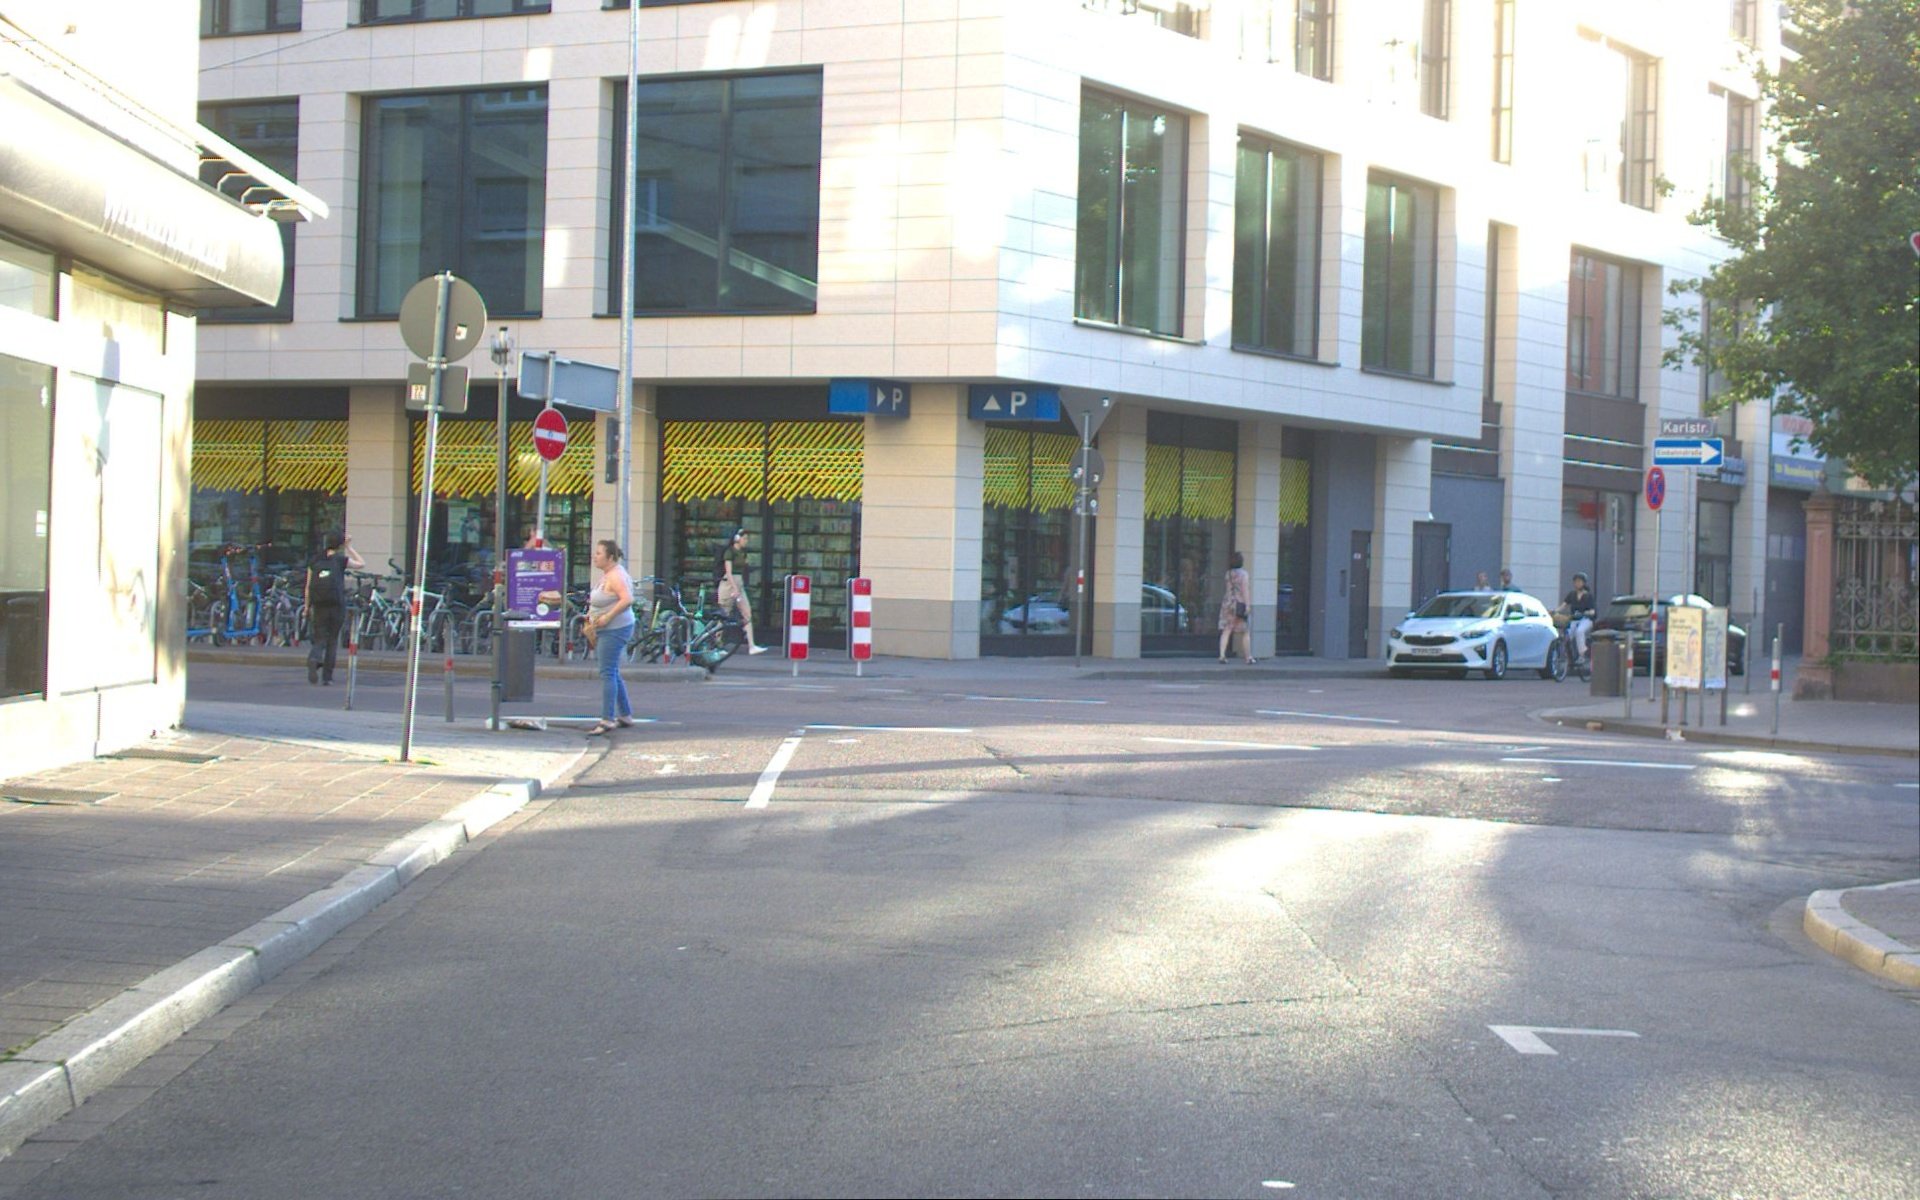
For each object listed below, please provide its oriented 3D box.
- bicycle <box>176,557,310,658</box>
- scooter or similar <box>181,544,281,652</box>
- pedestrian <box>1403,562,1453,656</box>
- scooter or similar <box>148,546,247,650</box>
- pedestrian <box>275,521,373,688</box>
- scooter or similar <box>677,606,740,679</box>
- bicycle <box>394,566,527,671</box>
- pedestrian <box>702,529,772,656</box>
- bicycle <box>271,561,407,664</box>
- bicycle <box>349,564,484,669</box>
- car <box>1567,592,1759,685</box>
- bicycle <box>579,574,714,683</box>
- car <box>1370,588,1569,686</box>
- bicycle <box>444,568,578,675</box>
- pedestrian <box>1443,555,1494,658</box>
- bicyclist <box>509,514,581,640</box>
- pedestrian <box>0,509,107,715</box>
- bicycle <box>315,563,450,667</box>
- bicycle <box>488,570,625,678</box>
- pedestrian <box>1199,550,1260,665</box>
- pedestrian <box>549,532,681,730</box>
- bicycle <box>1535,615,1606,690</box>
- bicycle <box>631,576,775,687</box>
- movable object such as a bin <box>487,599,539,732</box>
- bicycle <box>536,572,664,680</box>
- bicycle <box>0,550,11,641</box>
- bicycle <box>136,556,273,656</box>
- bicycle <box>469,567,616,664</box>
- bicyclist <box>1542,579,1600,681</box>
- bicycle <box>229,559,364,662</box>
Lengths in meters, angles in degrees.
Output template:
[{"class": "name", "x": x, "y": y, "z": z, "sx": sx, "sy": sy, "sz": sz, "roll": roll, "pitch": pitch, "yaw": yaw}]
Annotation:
[{"class": "bicycle", "x": -9.213, "y": 0.112, "z": 44.234, "sx": 0.512, "sy": 1.250, "sz": 1.976, "roll": 2, "pitch": 0, "yaw": 27}, {"class": "scooter or similar", "x": -8.734, "y": -0.014, "z": 41.207, "sx": 0.387, "sy": 1.256, "sz": 1.269, "roll": 2, "pitch": 0, "yaw": 28}, {"class": "pedestrian", "x": 8.488, "y": 0.158, "z": 62.336, "sx": 0.673, "sy": 1.669, "sz": 0.646, "roll": 2, "pitch": 1, "yaw": 28}, {"class": "scooter or similar", "x": -9.213, "y": -0.016, "z": 41.551, "sx": 0.387, "sy": 1.208, "sz": 1.269, "roll": 2, "pitch": 0, "yaw": 28}, {"class": "pedestrian", "x": -6.467, "y": 0.040, "z": 34.932, "sx": 0.869, "sy": 1.652, "sz": 0.619, "roll": 2, "pitch": 0, "yaw": -16}, {"class": "scooter or similar", "x": -3.095, "y": 0.524, "z": 42.360, "sx": 0.387, "sy": 0.881, "sz": 0.769, "roll": 2, "pitch": 0, "yaw": 29}, {"class": "bicycle", "x": -6.154, "y": 0.245, "z": 42.469, "sx": 0.512, "sy": 1.250, "sz": 1.976, "roll": 2, "pitch": 0, "yaw": 27}, {"class": "pedestrian", "x": -3.076, "y": -0.106, "z": 47.406, "sx": 0.635, "sy": 1.717, "sz": 0.845, "roll": 2, "pitch": 0, "yaw": -25}, {"class": "bicycle", "x": -7.830, "y": 0.172, "z": 43.433, "sx": 0.512, "sy": 1.250, "sz": 1.976, "roll": 2, "pitch": 0, "yaw": 28}, {"class": "bicycle", "x": -6.739, "y": 0.220, "z": 42.749, "sx": 0.512, "sy": 1.250, "sz": 1.976, "roll": 2, "pitch": 0, "yaw": 28}, {"class": "car", "x": 12.961, "y": 0.698, "z": 63.204, "sx": 1.887, "sy": 1.592, "sz": 4.680, "roll": 2, "pitch": 1, "yaw": 32}, {"class": "bicycle", "x": -3.728, "y": 0.351, "z": 41.068, "sx": 0.582, "sy": 1.250, "sz": 2.041, "roll": 2, "pitch": 0, "yaw": 26}, {"class": "car", "x": 8.241, "y": 0.590, "z": 55.310, "sx": 1.780, "sy": 1.448, "sz": 4.224, "roll": 2, "pitch": 1, "yaw": 29}, {"class": "bicycle", "x": -5.483, "y": 0.275, "z": 42.058, "sx": 0.512, "sy": 1.250, "sz": 1.976, "roll": 2, "pitch": 0, "yaw": 28}, {"class": "pedestrian", "x": 9.157, "y": 0.119, "z": 61.931, "sx": 0.673, "sy": 1.830, "sz": 0.646, "roll": 2, "pitch": 1, "yaw": 28}, {"class": "bicyclist", "x": -5.684, "y": -0.310, "z": 47.068, "sx": 0.643, "sy": 1.689, "sz": 0.683, "roll": 2, "pitch": 1, "yaw": 30}, {"class": "pedestrian", "x": -7.375, "y": 0.089, "z": 27.550, "sx": 0.732, "sy": 1.607, "sz": 0.804, "roll": 2, "pitch": 0, "yaw": 10}, {"class": "bicycle", "x": -7.220, "y": 0.199, "z": 43.057, "sx": 0.512, "sy": 1.250, "sz": 1.976, "roll": 2, "pitch": 0, "yaw": 28}, {"class": "bicycle", "x": -4.868, "y": 0.301, "z": 41.609, "sx": 0.512, "sy": 1.250, "sz": 1.975, "roll": 2, "pitch": 0, "yaw": 30}, {"class": "pedestrian", "x": 4.141, "y": 0.115, "z": 52.837, "sx": 0.673, "sy": 1.738, "sz": 0.646, "roll": 2, "pitch": 0, "yaw": 30}, {"class": "pedestrian", "x": -2.855, "y": 0.253, "z": 28.418, "sx": 0.802, "sy": 1.607, "sz": 0.735, "roll": 2, "pitch": 0, "yaw": -30}, {"class": "bicycle", "x": 9.612, "y": 0.824, "z": 54.113, "sx": 0.664, "sy": 1.134, "sz": 1.819, "roll": 2, "pitch": 0, "yaw": 23}, {"class": "bicycle", "x": -3.027, "y": 0.381, "z": 40.752, "sx": 0.665, "sy": 1.250, "sz": 2.137, "roll": 2, "pitch": 0, "yaw": 26}, {"class": "movable object such as a bin", "x": -3.629, "y": 0.527, "z": 27.899, "sx": 0.359, "sy": 1.060, "sz": 0.356, "roll": 2, "pitch": 0, "yaw": -11}, {"class": "bicycle", "x": -4.314, "y": 0.325, "z": 41.324, "sx": 0.512, "sy": 1.250, "sz": 1.976, "roll": 2, "pitch": 0, "yaw": 26}, {"class": "bicycle", "x": -13.860, "y": -0.090, "z": 46.858, "sx": 0.512, "sy": 1.250, "sz": 1.976, "roll": 2, "pitch": 0, "yaw": 28}, {"class": "bicycle", "x": -9.768, "y": 0.088, "z": 44.533, "sx": 0.512, "sy": 1.250, "sz": 1.976, "roll": 2, "pitch": 0, "yaw": 28}, {"class": "bicycle", "x": -5.722, "y": 0.208, "z": 47.131, "sx": 1.976, "sy": 1.250, "sz": 0.611, "roll": 2, "pitch": 0, "yaw": 30}, {"class": "bicyclist", "x": 9.624, "y": 0.476, "z": 54.150, "sx": 0.659, "sy": 1.565, "sz": 0.862, "roll": 2, "pitch": 0, "yaw": 22}, {"class": "bicycle", "x": -8.455, "y": 0.145, "z": 43.879, "sx": 0.512, "sy": 1.250, "sz": 1.976, "roll": 2, "pitch": 0, "yaw": 28}]
